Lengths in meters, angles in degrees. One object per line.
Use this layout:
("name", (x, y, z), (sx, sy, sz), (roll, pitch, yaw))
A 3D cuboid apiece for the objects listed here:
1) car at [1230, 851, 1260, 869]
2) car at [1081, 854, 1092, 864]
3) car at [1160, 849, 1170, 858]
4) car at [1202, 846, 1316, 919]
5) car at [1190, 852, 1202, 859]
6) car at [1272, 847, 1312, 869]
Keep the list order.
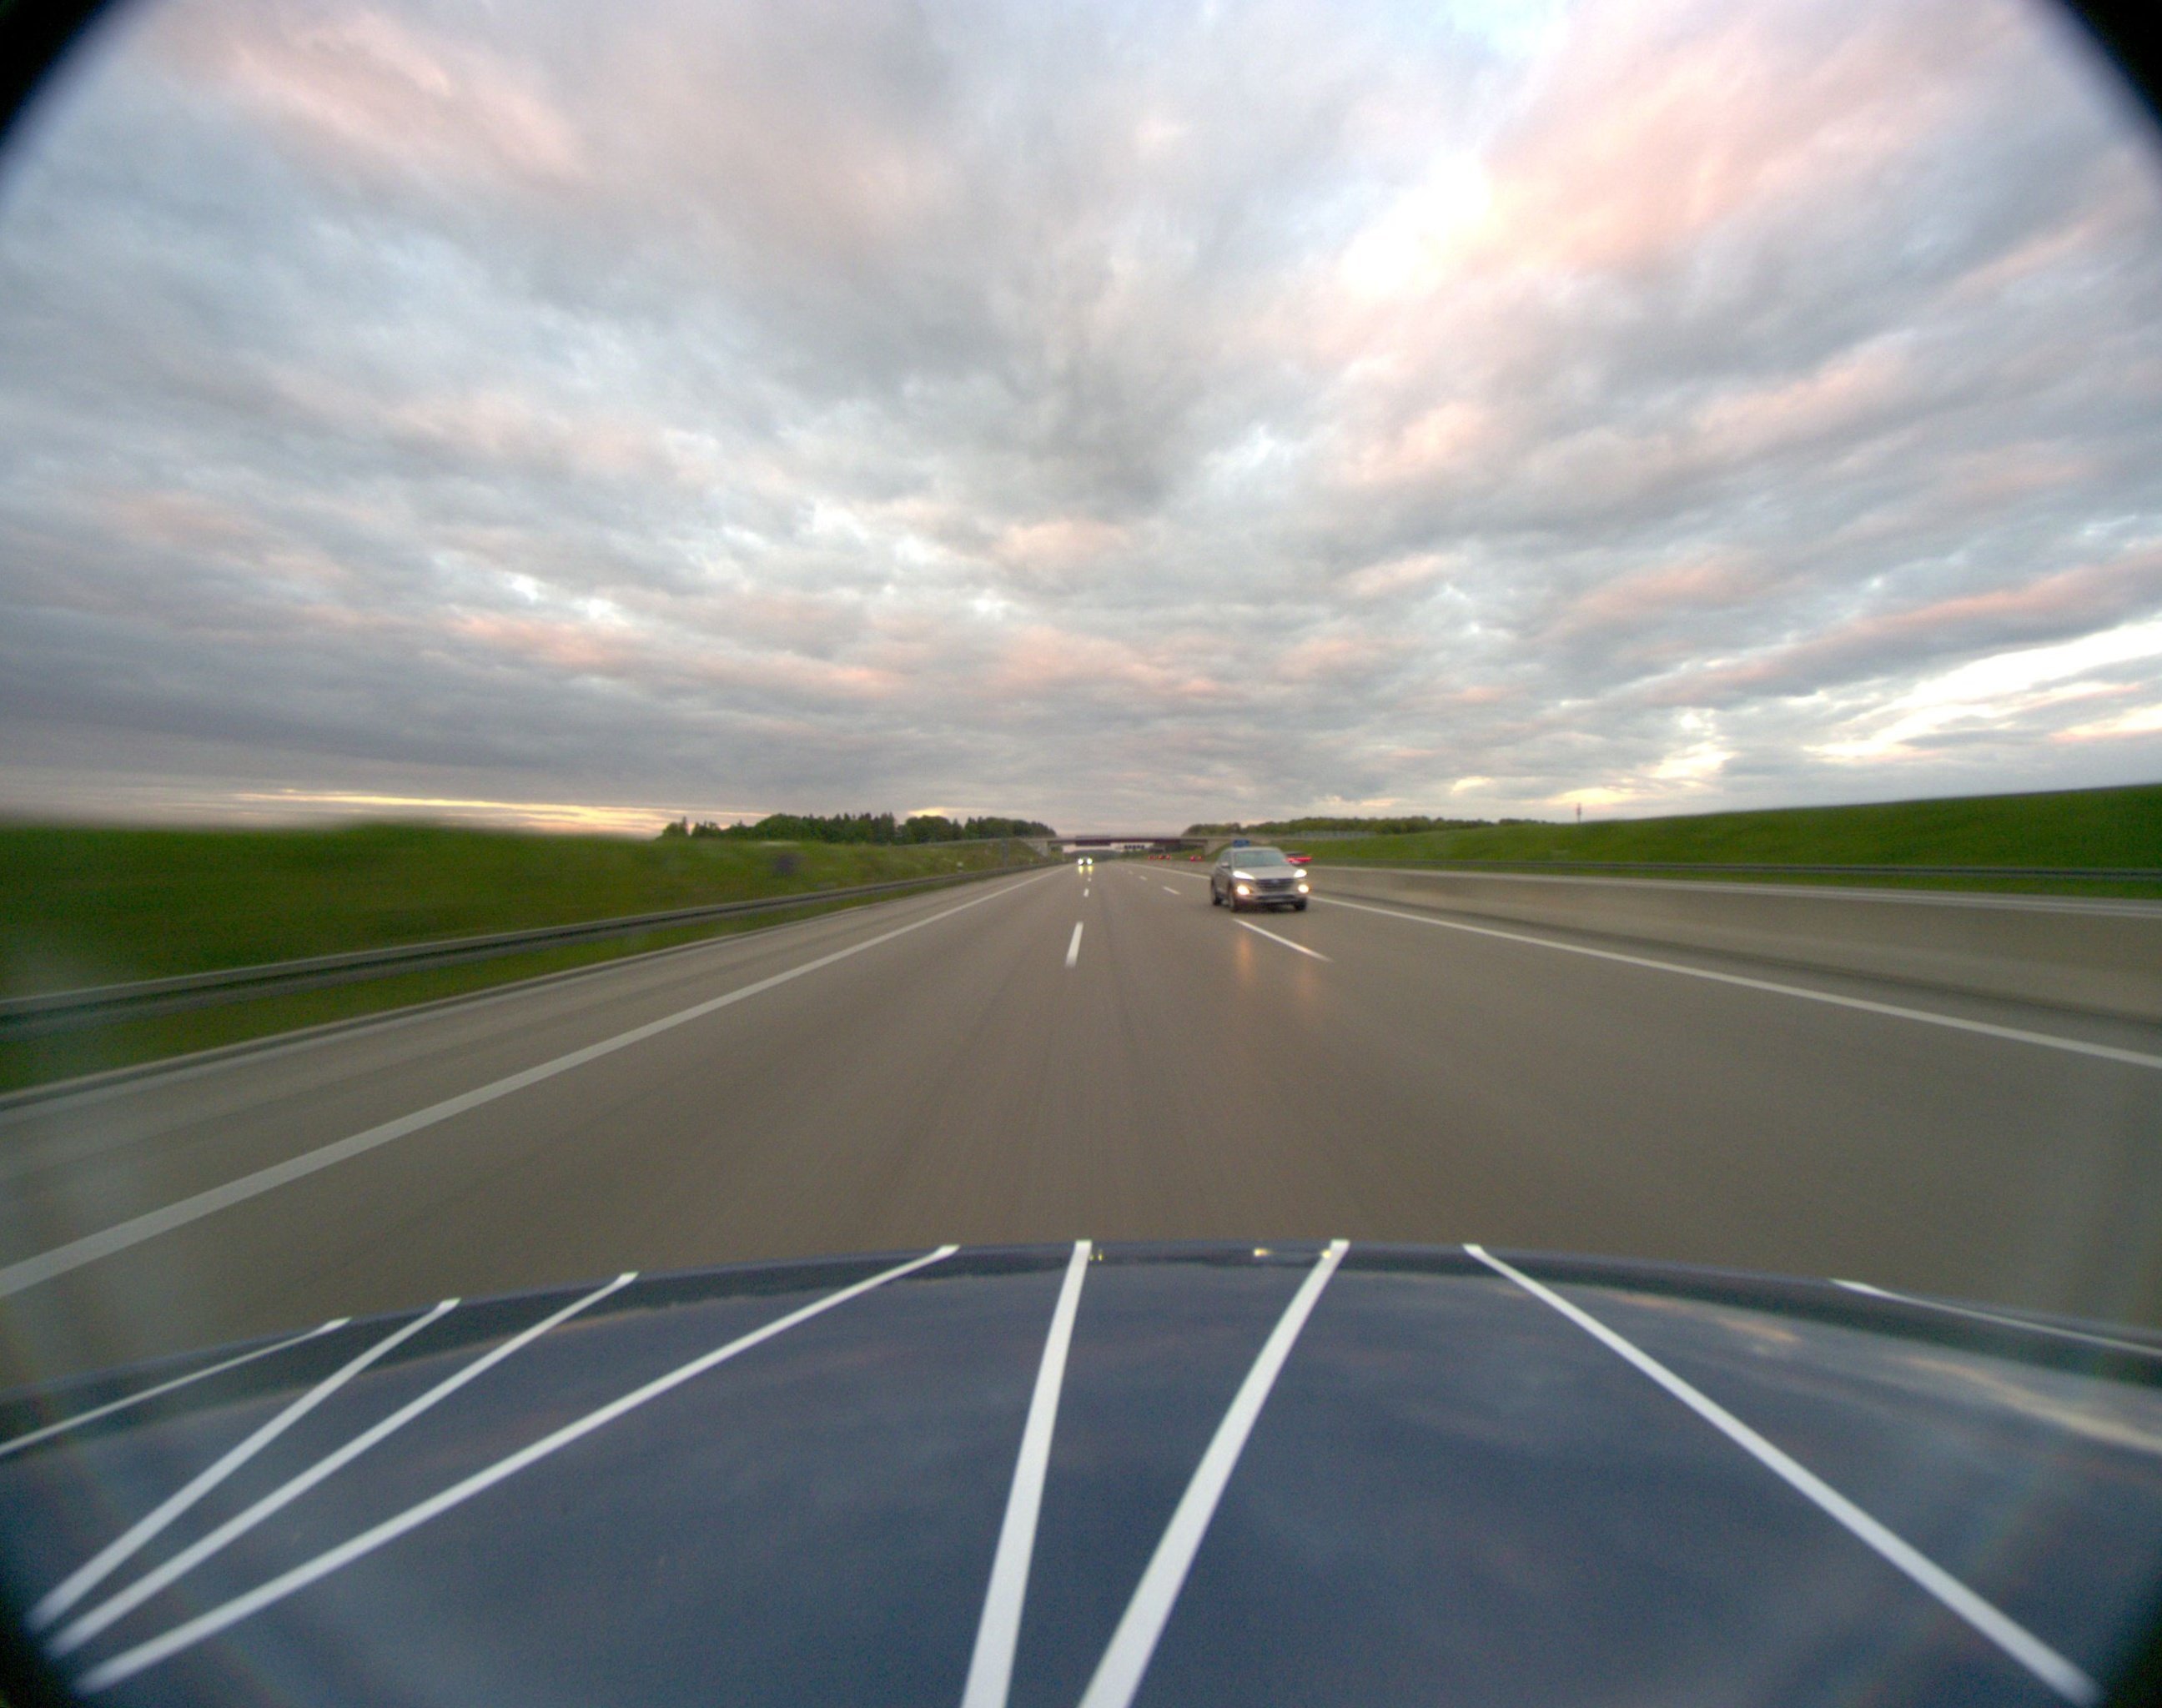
("car", (14.383, 0.495, 66.855), (1.743, 1.490, 4.131), (-1, 0, 0))
("car", (1.004, 0.820, 129.803), (1.801, 1.674, 4.385), (-1, 1, 1))
("car", (20.087, -0.090, 181.966), (2.008, 2.002, 5.737), (-1, 0, 1))
("car", (4.647, 0.653, 20.713), (1.857, 1.683, 5.512), (-1, 0, 1))
("car", (23.595, 0.310, 156.041), (1.634, 1.508, 4.426), (-2, 0, 0))
("car", (18.319, 0.338, 66.245), (2.105, 1.800, 5.021), (-1, 0, 1))
